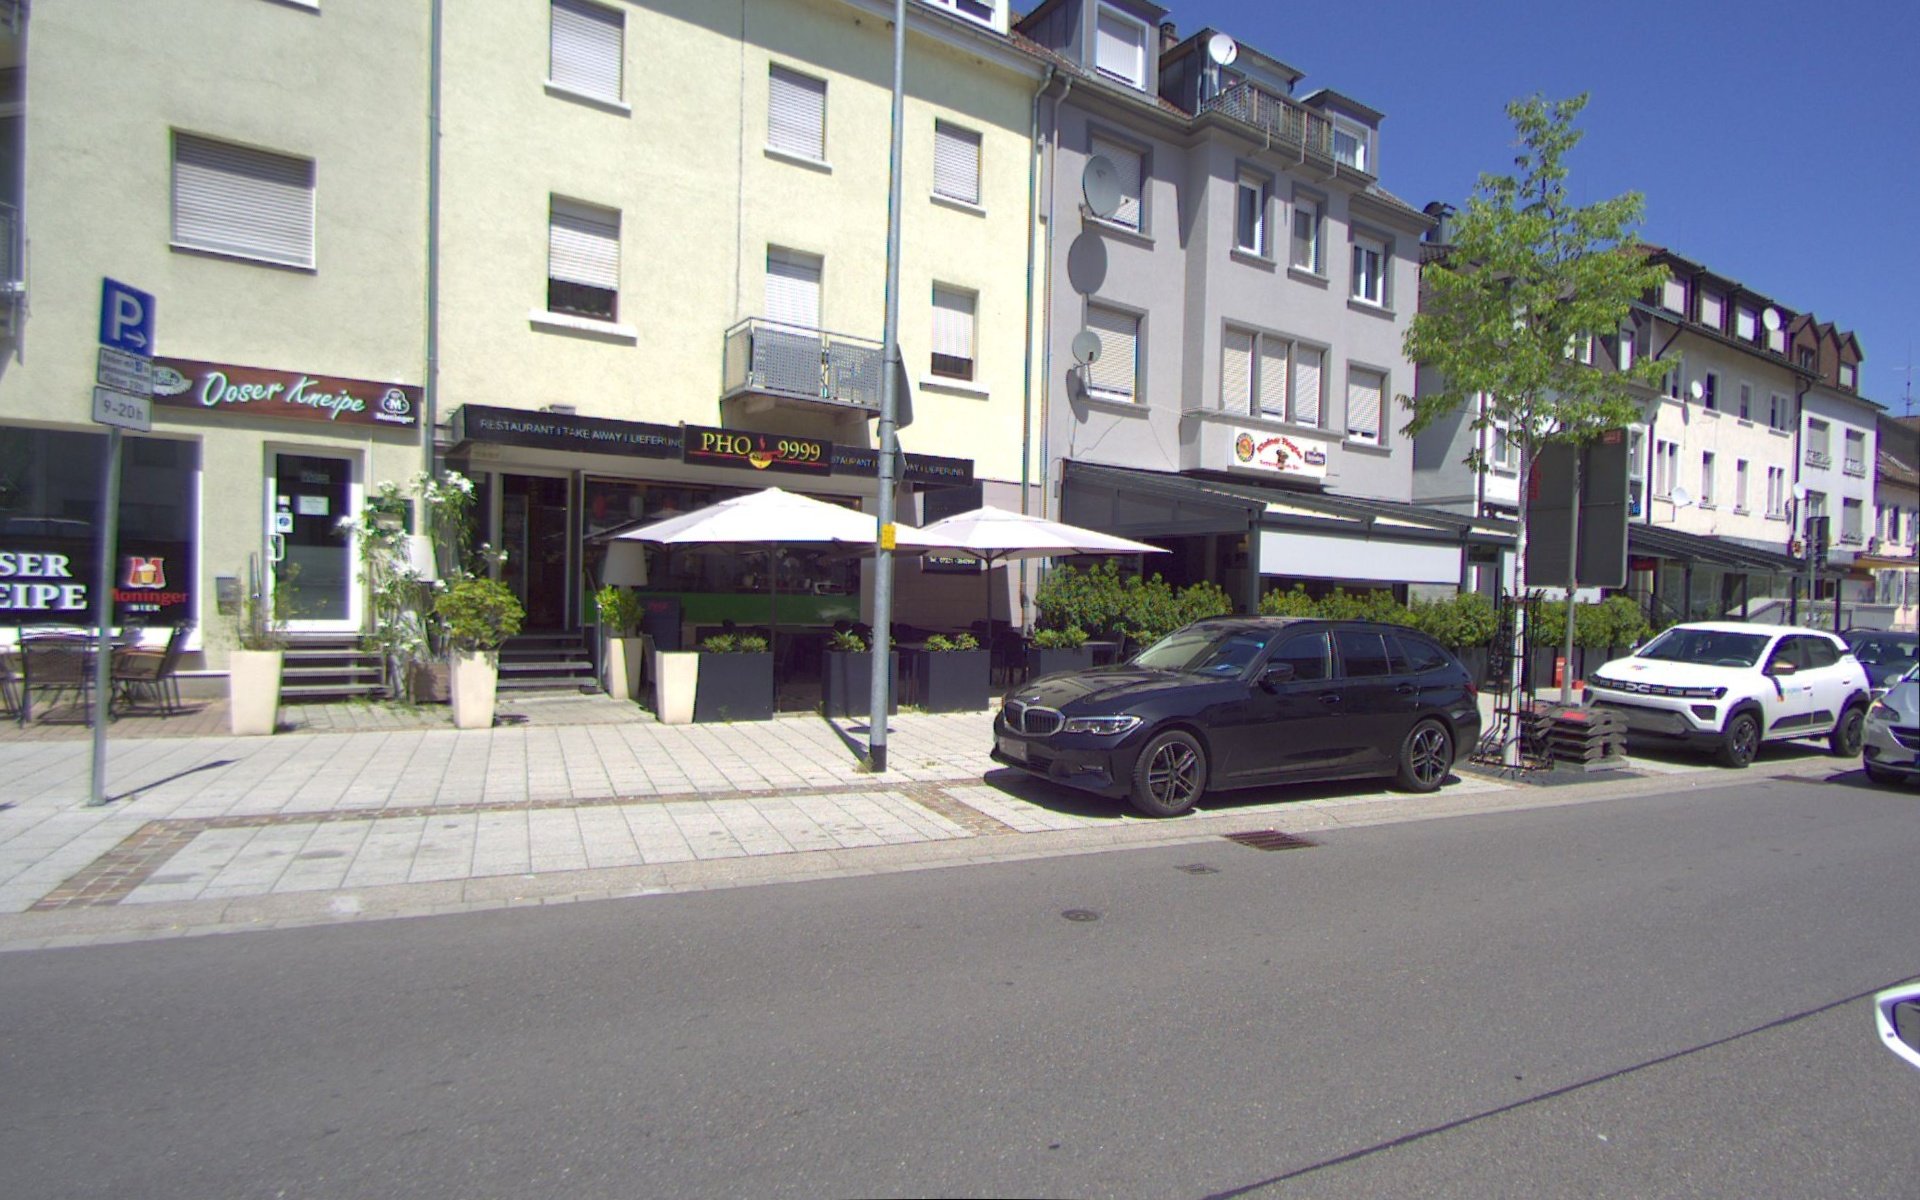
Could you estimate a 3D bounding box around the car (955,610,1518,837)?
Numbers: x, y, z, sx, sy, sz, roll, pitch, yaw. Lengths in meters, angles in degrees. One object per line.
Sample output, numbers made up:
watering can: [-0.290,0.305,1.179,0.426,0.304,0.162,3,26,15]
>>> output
car: [2.469,0.883,8.658,4.723,1.449,1.826,1,1,-29]

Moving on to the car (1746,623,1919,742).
car: [13.245,1.099,14.419,3.960,1.463,1.663,1,0,-29]

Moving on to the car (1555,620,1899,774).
car: [9.116,1.044,11.912,3.888,1.499,1.639,1,2,-26]

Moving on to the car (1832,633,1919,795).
car: [10.637,1.080,10.008,4.009,1.477,1.680,1,-2,-29]
